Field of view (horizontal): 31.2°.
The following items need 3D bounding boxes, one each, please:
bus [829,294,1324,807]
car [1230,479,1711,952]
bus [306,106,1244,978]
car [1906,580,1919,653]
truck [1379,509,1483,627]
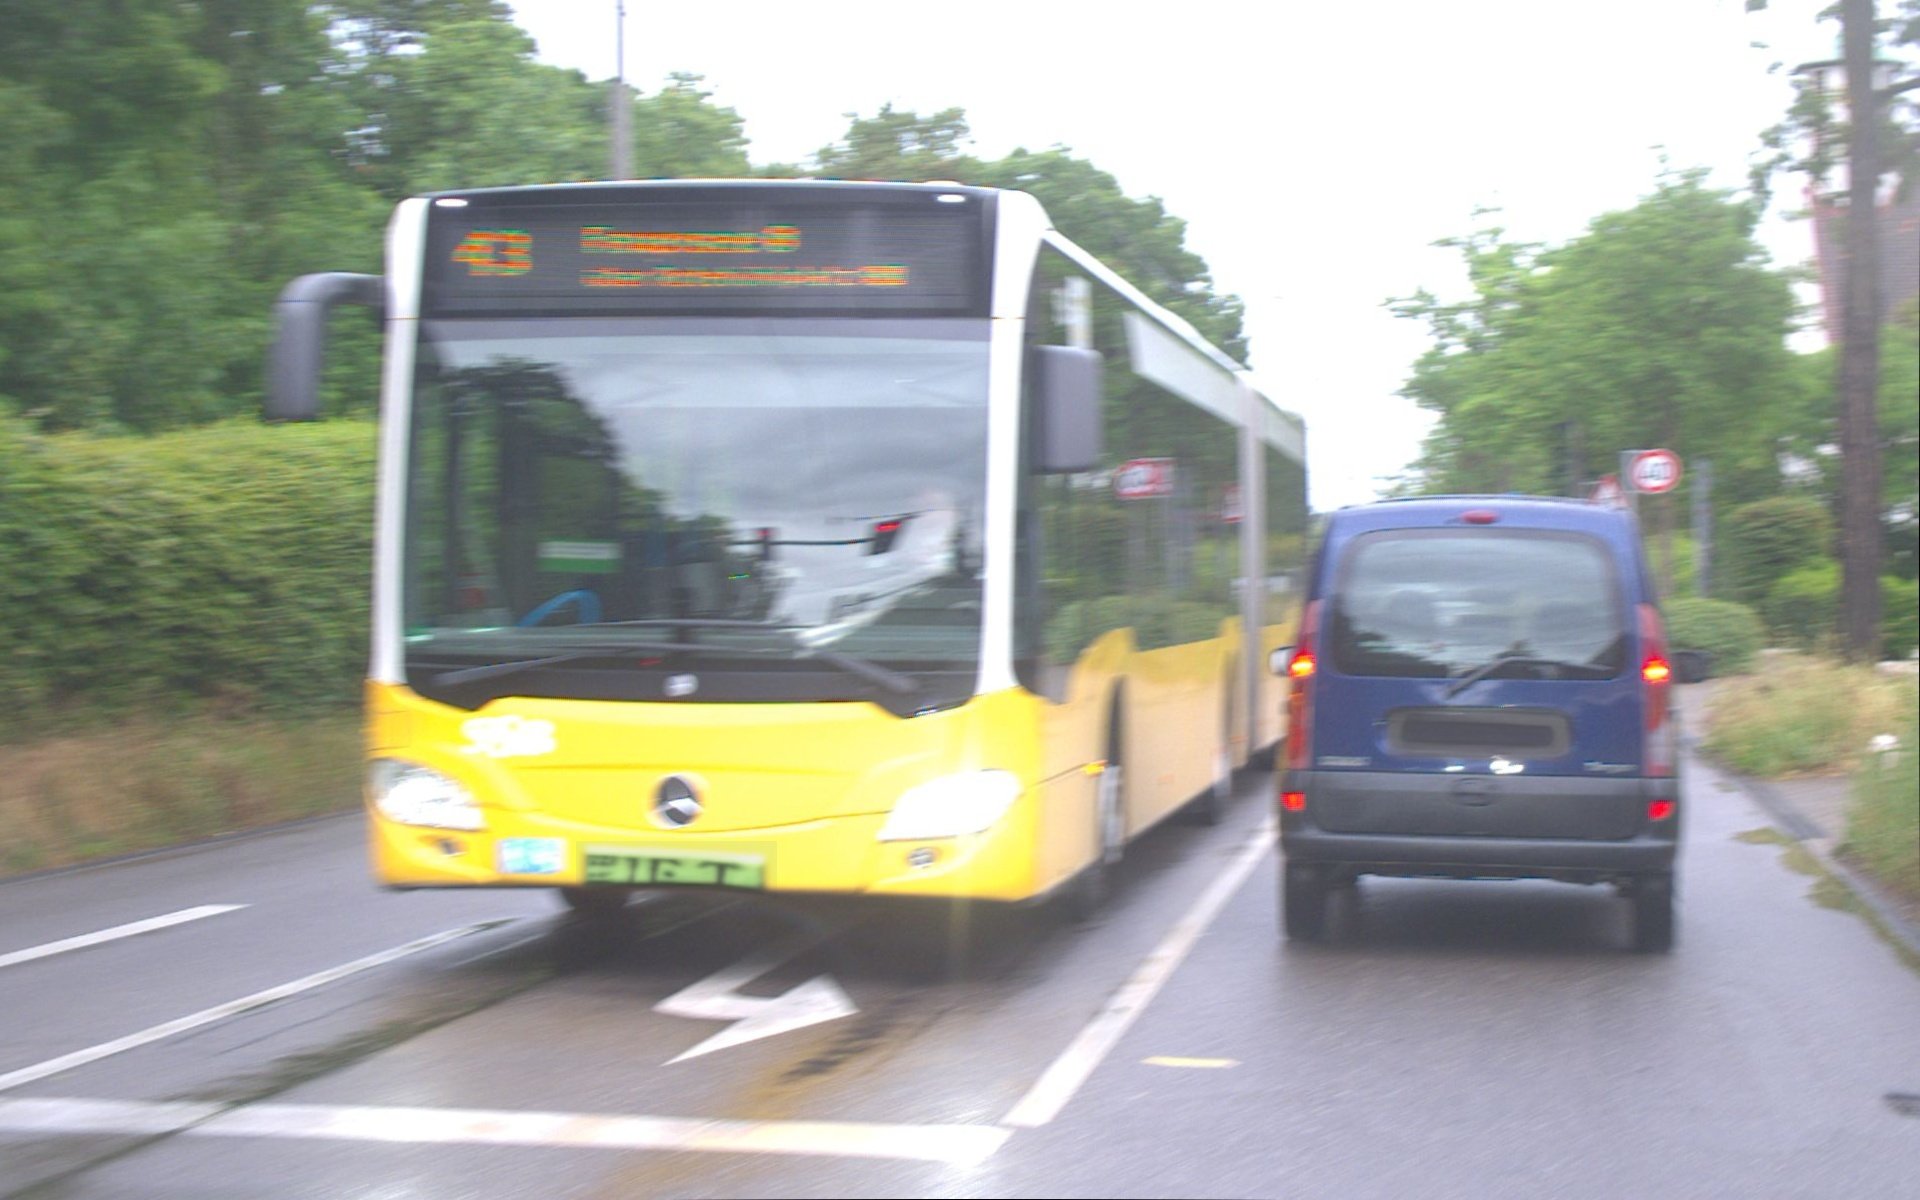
[{"bbox_3d":[1.158,-0.329,25.553,2.596,3.147,8.632,1,0,9],"label":"bus"},{"bbox_3d":[2.235,0.440,15.131,1.809,1.791,3.999,0,0,8],"label":"car"},{"bbox_3d":[-0.309,-0.225,16.728,2.644,3.034,9.226,1,0,9],"label":"bus"},{"bbox_3d":[16.360,0.283,55.354,1.832,1.172,3.998,1,0,10],"label":"car"},{"bbox_3d":[13.919,-0.920,102.007,2.732,3.375,6.684,-1,0,5],"label":"truck"}]
